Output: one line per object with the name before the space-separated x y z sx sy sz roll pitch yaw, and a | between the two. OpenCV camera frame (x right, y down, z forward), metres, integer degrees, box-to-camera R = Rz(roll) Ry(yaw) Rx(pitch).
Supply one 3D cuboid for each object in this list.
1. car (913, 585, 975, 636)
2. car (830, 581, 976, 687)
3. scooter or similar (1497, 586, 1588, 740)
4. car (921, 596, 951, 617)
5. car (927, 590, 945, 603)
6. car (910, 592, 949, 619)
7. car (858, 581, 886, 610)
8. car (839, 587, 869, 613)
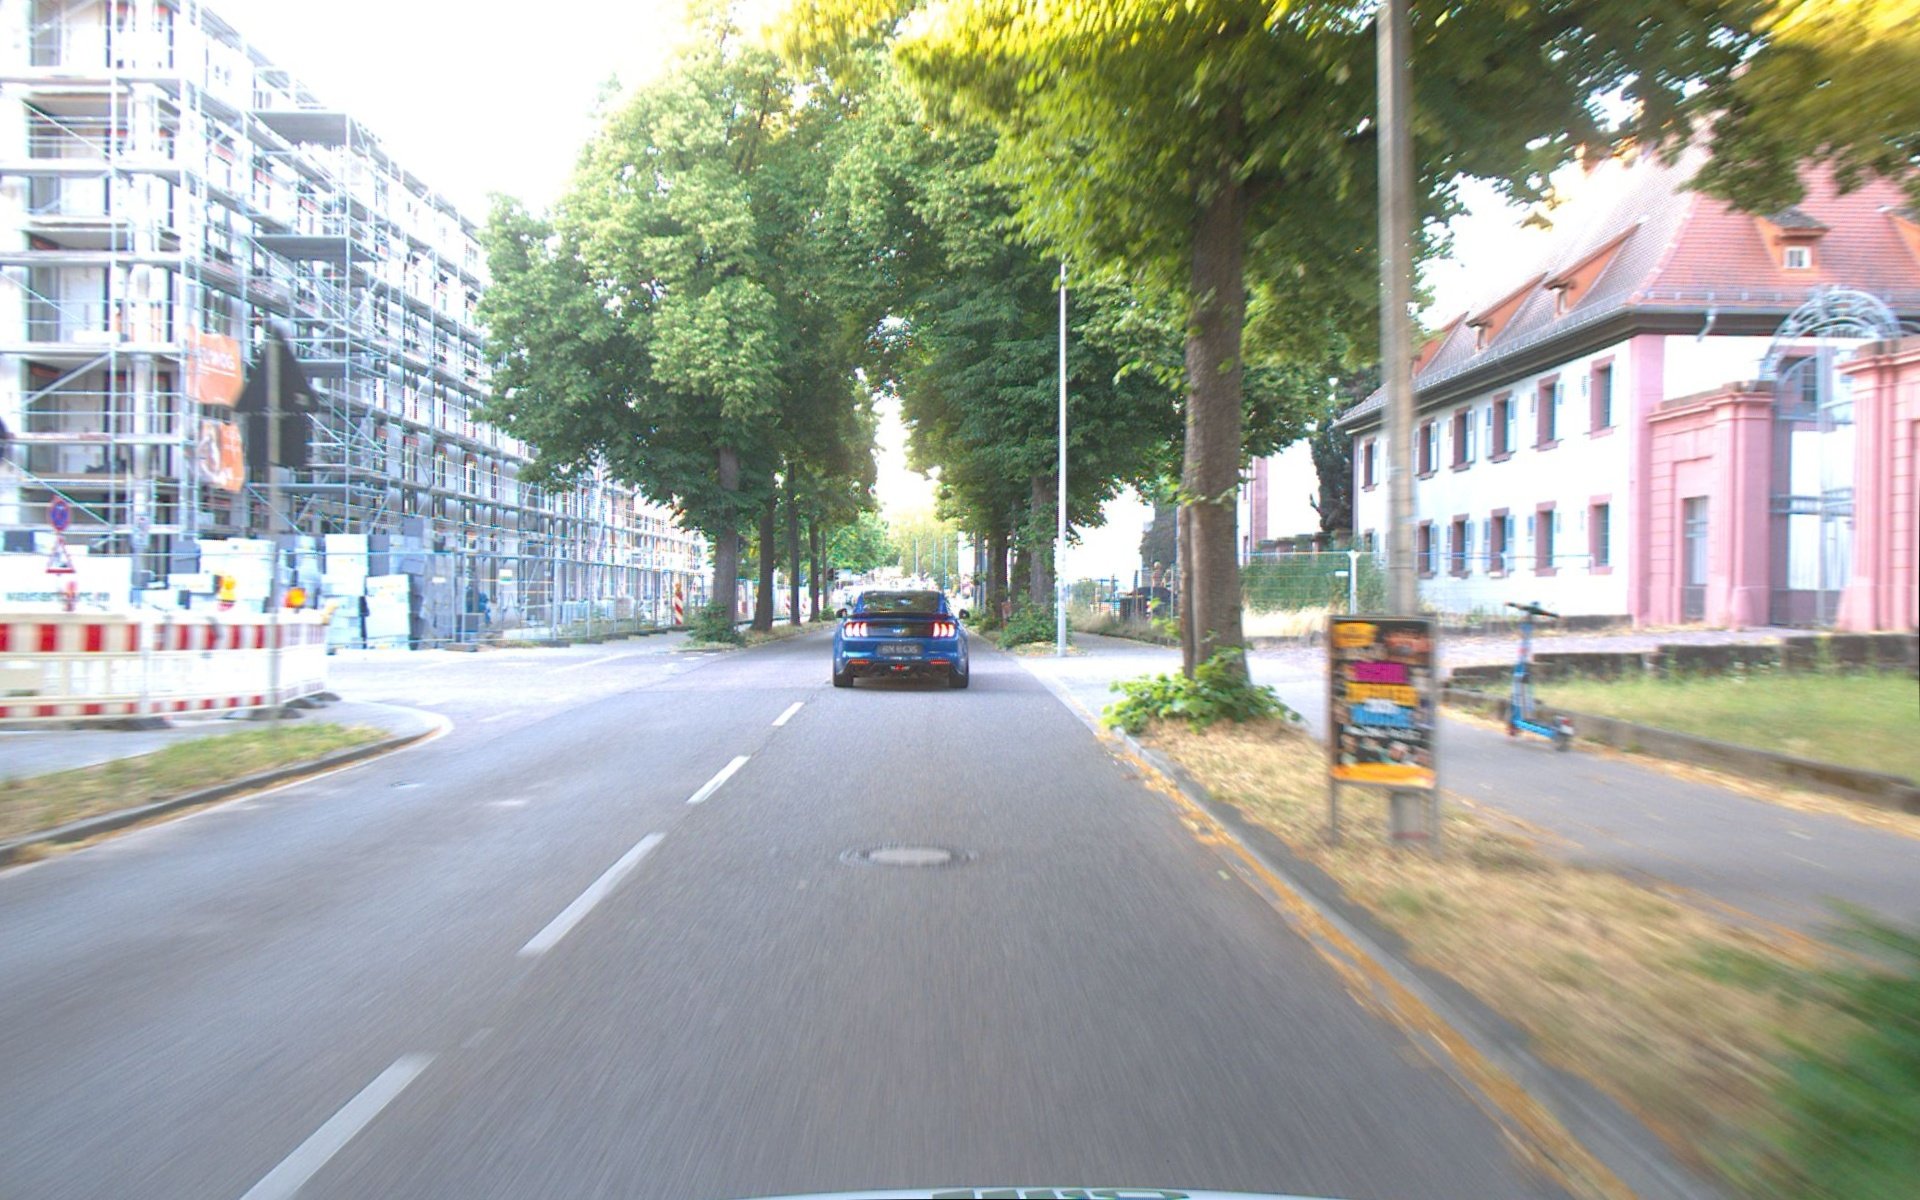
car | -0.497 0.327 54.373 1.907 1.553 4.000 2 0 1
car | -0.792 0.446 23.995 1.907 1.350 3.999 2 0 -1
scooter or similar | 5.127 0.536 14.606 0.234 1.298 1.265 0 0 -6
car | -1.633 0.440 112.265 1.907 1.350 3.999 2 0 -1
car | -2.560 -0.370 176.283 1.907 1.350 3.999 2 0 -1
car | -1.610 0.302 88.893 1.907 1.350 4.000 2 0 1
car | -8.400 -0.407 158.346 2.442 2.744 5.828 0 0 -2
car | -9.397 -0.040 147.053 2.288 2.236 5.309 0 0 0
